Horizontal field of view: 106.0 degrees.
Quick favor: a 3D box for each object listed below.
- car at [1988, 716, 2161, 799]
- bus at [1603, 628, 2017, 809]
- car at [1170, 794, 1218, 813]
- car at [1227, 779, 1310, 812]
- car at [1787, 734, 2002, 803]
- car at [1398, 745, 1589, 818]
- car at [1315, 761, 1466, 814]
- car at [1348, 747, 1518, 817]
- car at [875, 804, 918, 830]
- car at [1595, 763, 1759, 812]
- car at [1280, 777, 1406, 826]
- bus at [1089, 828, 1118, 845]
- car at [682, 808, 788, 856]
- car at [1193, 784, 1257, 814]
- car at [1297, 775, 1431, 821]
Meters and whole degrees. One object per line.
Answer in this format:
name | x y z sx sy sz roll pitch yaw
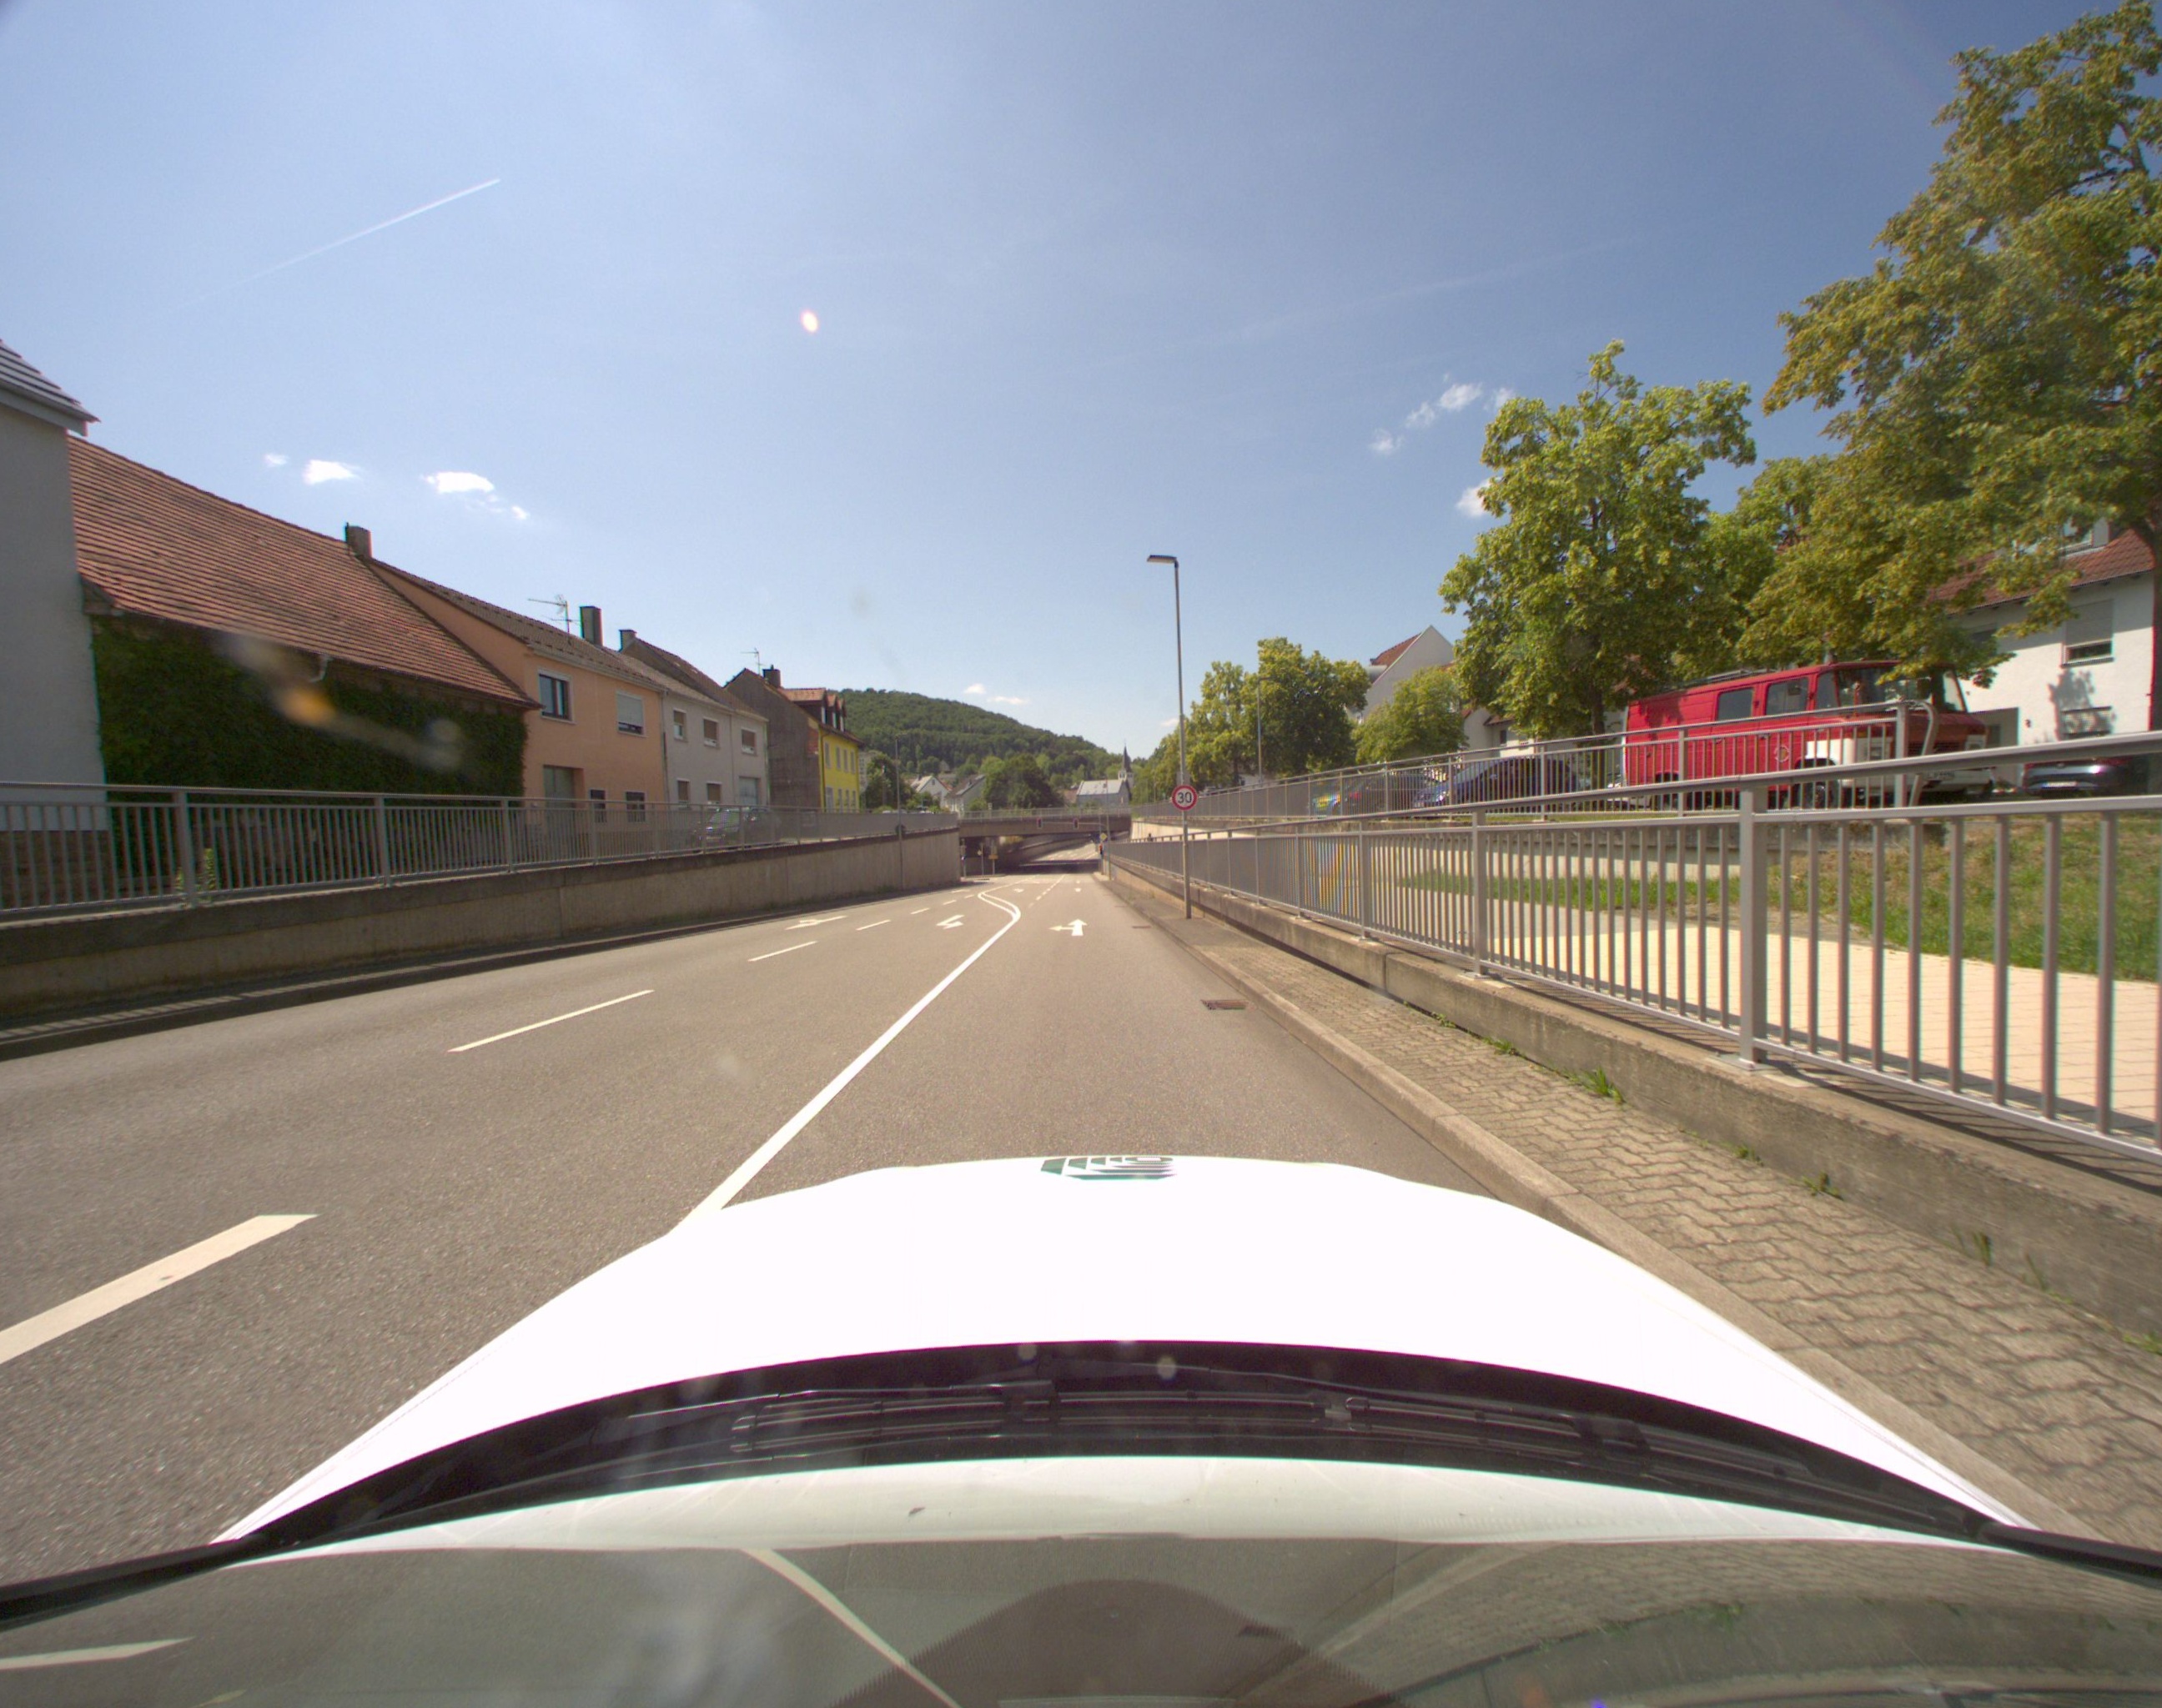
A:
car | 21.578 -1.971 16.398 4.470 1.479 2.000 -3 3 0
bus | 11.765 -2.012 13.884 2.182 2.366 5.362 -3 3 -1
car | 9.640 -4.307 69.750 3.971 1.486 1.771 -1 0 2
car | 9.702 -3.036 42.421 3.971 1.486 1.771 -1 0 2
car | 21.609 -2.243 21.753 3.976 1.629 1.862 0 -1 -2
car | 10.334 -1.761 20.534 3.987 1.629 1.857 0 -1 -10
car | 9.501 -2.032 25.232 3.974 1.307 1.772 -3 0 0
car | 9.886 -2.002 23.049 3.979 1.632 1.770 -3 0 -4
car | -11.486 -2.281 50.984 1.794 1.524 4.390 -2 2 -2
car | 21.355 -2.366 29.308 4.470 1.479 2.000 -3 3 0
car | 9.387 -1.882 29.388 3.971 1.555 1.725 -1 0 2
bus | 4.595 -3.506 164.672 2.561 3.172 12.434 -1 2 17
car | -11.446 -0.746 27.309 1.781 1.405 4.390 -2 2 -2
car | 9.566 -3.646 54.185 3.971 1.770 1.771 -1 -1 2
car | 9.515 -1.871 27.594 3.971 1.427 1.726 -1 2 2
